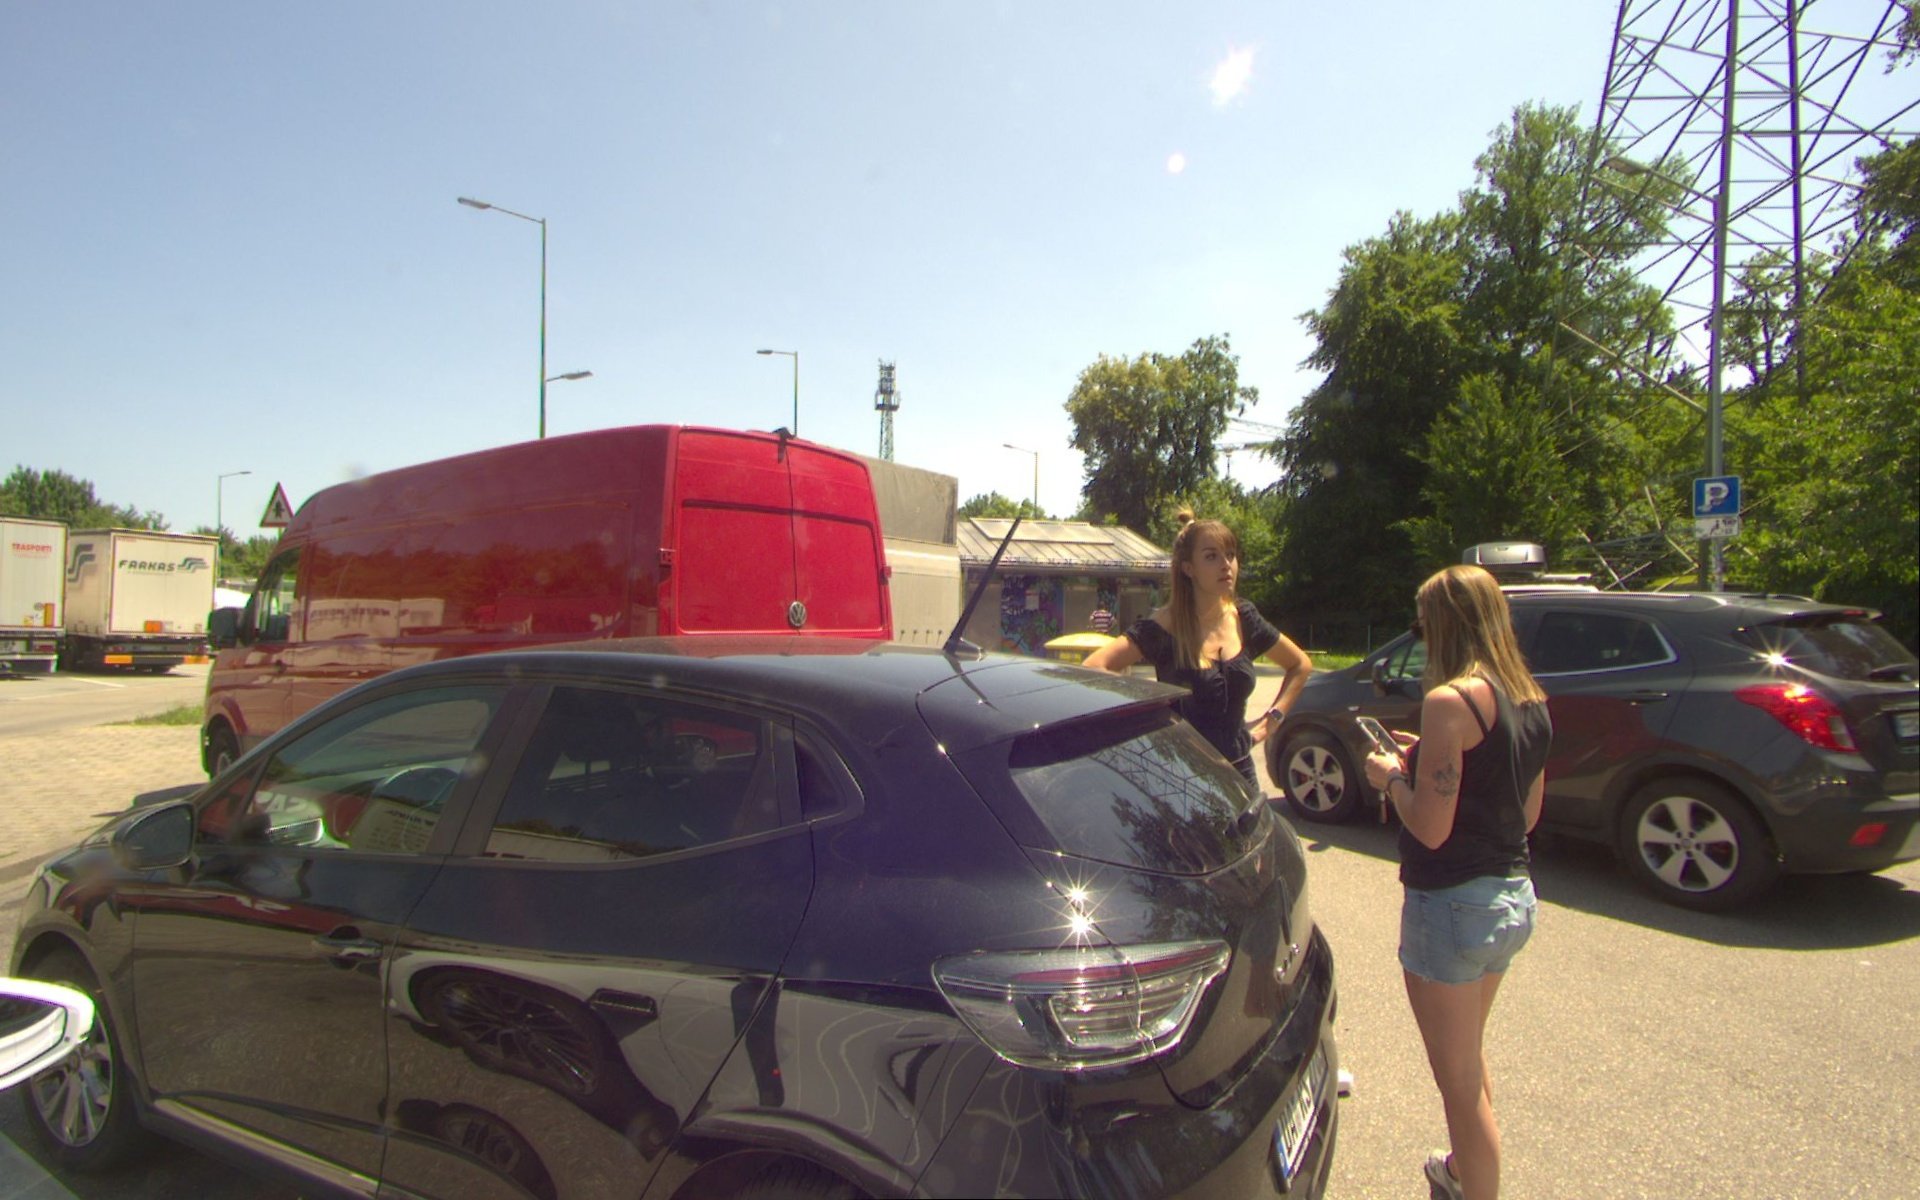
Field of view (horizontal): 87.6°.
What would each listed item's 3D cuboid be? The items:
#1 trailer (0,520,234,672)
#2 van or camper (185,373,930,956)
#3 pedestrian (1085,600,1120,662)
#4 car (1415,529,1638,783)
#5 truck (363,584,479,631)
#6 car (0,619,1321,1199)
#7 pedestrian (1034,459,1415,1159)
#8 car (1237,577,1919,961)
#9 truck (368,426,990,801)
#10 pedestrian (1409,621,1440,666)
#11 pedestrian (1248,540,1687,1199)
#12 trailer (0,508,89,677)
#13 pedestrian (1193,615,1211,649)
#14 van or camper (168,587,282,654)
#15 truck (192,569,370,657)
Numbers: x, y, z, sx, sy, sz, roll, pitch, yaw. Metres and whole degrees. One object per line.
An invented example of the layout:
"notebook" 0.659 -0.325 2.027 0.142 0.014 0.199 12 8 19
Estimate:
"trailer" -27.277 -0.198 31.442 12.255 4.090 2.862 2 -1 33
"van or camper" -3.350 0.324 7.330 6.394 2.688 1.990 0 -1 36
"pedestrian" 3.856 0.833 27.084 0.742 1.629 0.765 1 0 -8
"car" 6.556 0.568 11.535 1.892 2.354 4.074 -1 -1 32
"truck" -34.704 0.472 64.257 9.637 2.857 2.121 0 -1 33
"car" -1.044 0.834 2.822 3.706 1.503 1.615 0 -1 27
"pedestrian" 0.792 0.583 3.194 0.900 1.896 0.773 1 0 -13
"car" 3.914 0.763 6.507 1.823 1.644 4.031 1 -1 -28
"truck" -3.245 0.133 10.536 6.874 2.828 2.460 0 -1 35
"pedestrian" 14.697 1.371 31.696 0.695 1.392 0.607 1 0 -3
"pedestrian" 1.147 0.697 2.360 0.642 1.606 0.648 1 0 -14
"trailer" -28.338 -0.328 27.777 12.255 4.090 2.862 2 -1 33
"pedestrian" 11.171 1.468 46.261 0.577 1.536 0.592 1 0 -10
"van or camper" -30.394 0.823 41.364 5.296 2.595 2.100 0 -1 34
"truck" -31.675 0.510 46.455 11.255 3.615 2.484 2 -1 33
